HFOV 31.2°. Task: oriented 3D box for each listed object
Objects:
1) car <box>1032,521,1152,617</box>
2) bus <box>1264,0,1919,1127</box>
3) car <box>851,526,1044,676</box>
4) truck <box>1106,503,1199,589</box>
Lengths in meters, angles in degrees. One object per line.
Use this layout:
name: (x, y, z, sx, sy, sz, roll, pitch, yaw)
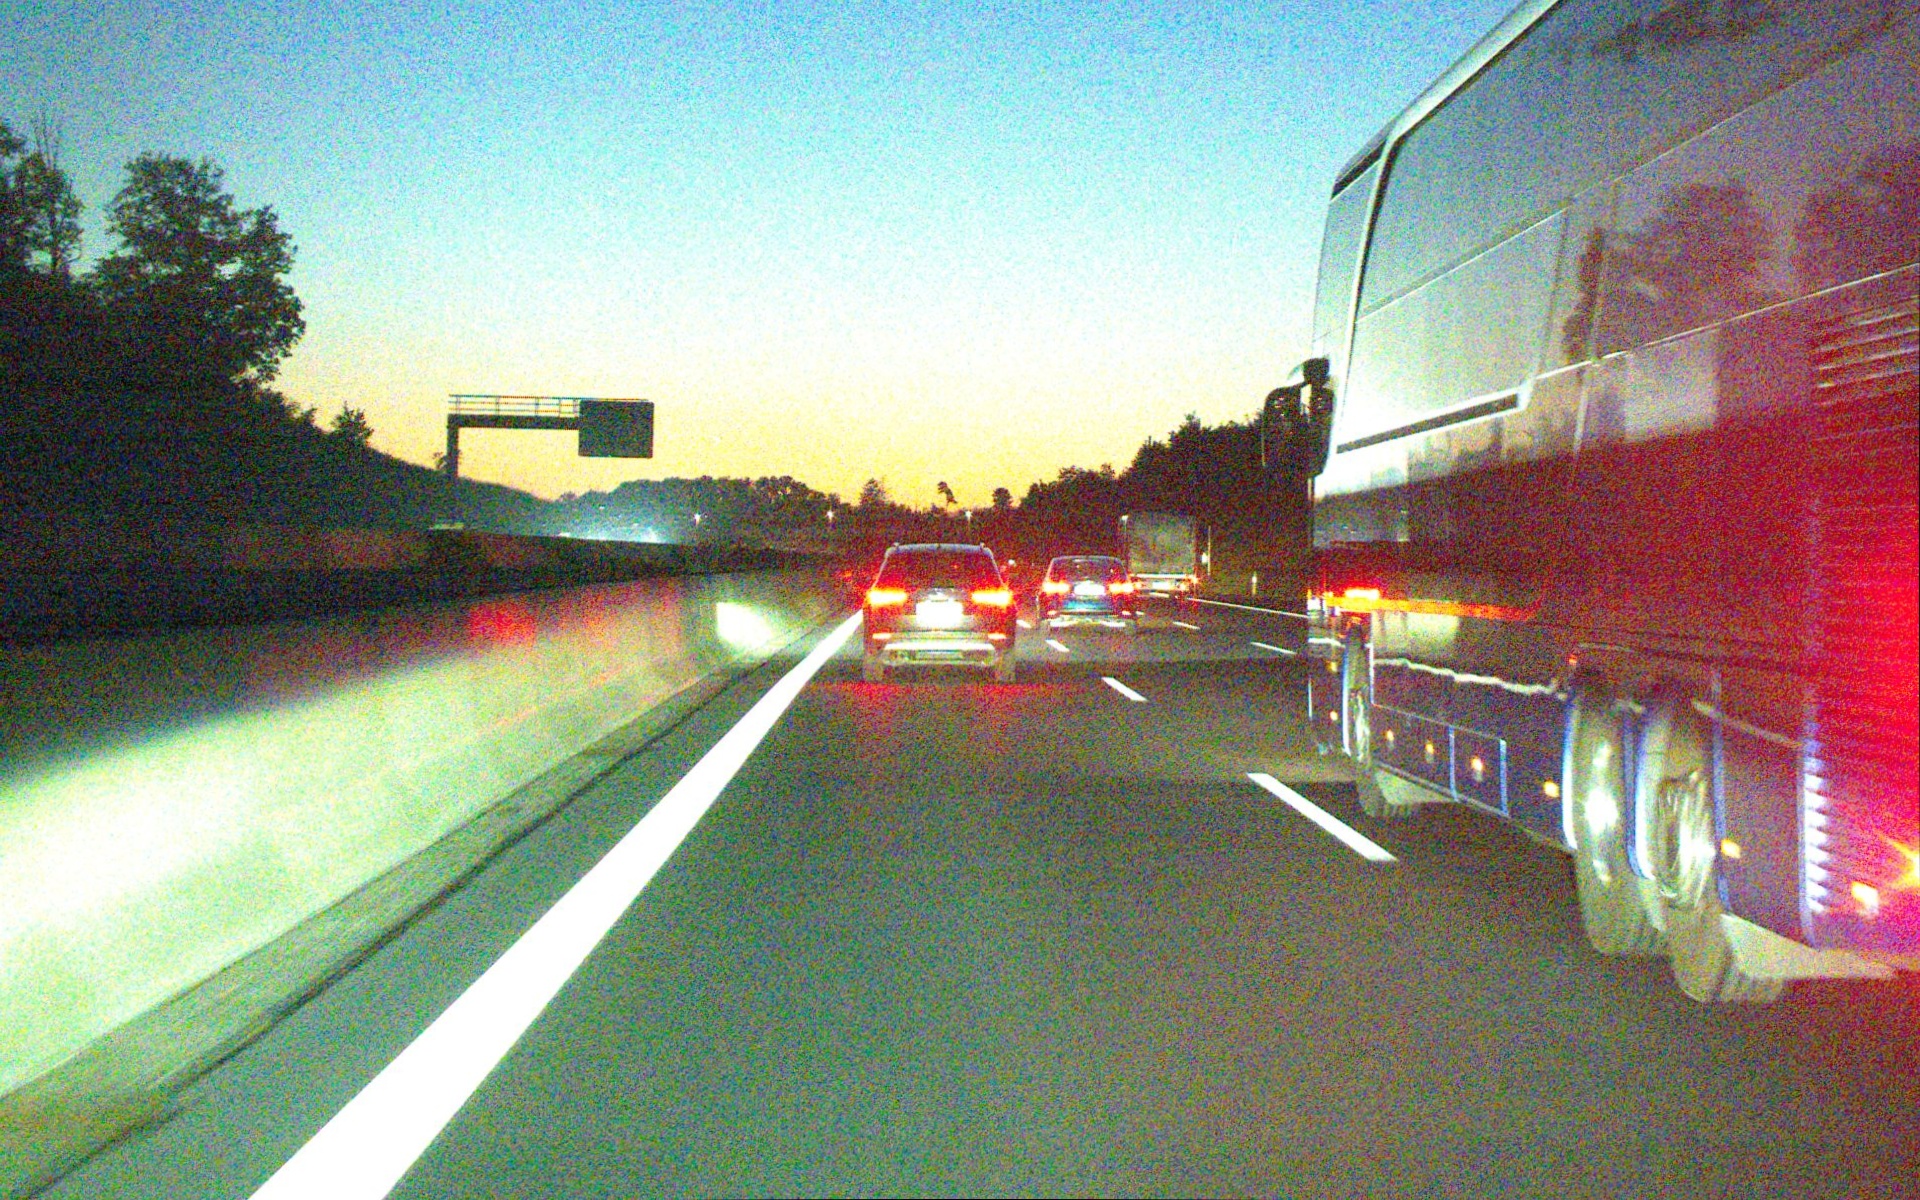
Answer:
car: (2.449, -0.587, 64.665, 1.911, 1.724, 4.000, 1, 0, -2)
bus: (3.521, -0.774, 15.540, 2.652, 3.980, 14.703, 1, 1, -1)
car: (-0.202, -0.005, 40.594, 2.105, 1.612, 4.205, 2, 0, -2)
truck: (6.719, -1.896, 120.943, 2.602, 2.865, 7.486, 2, 1, -1)
